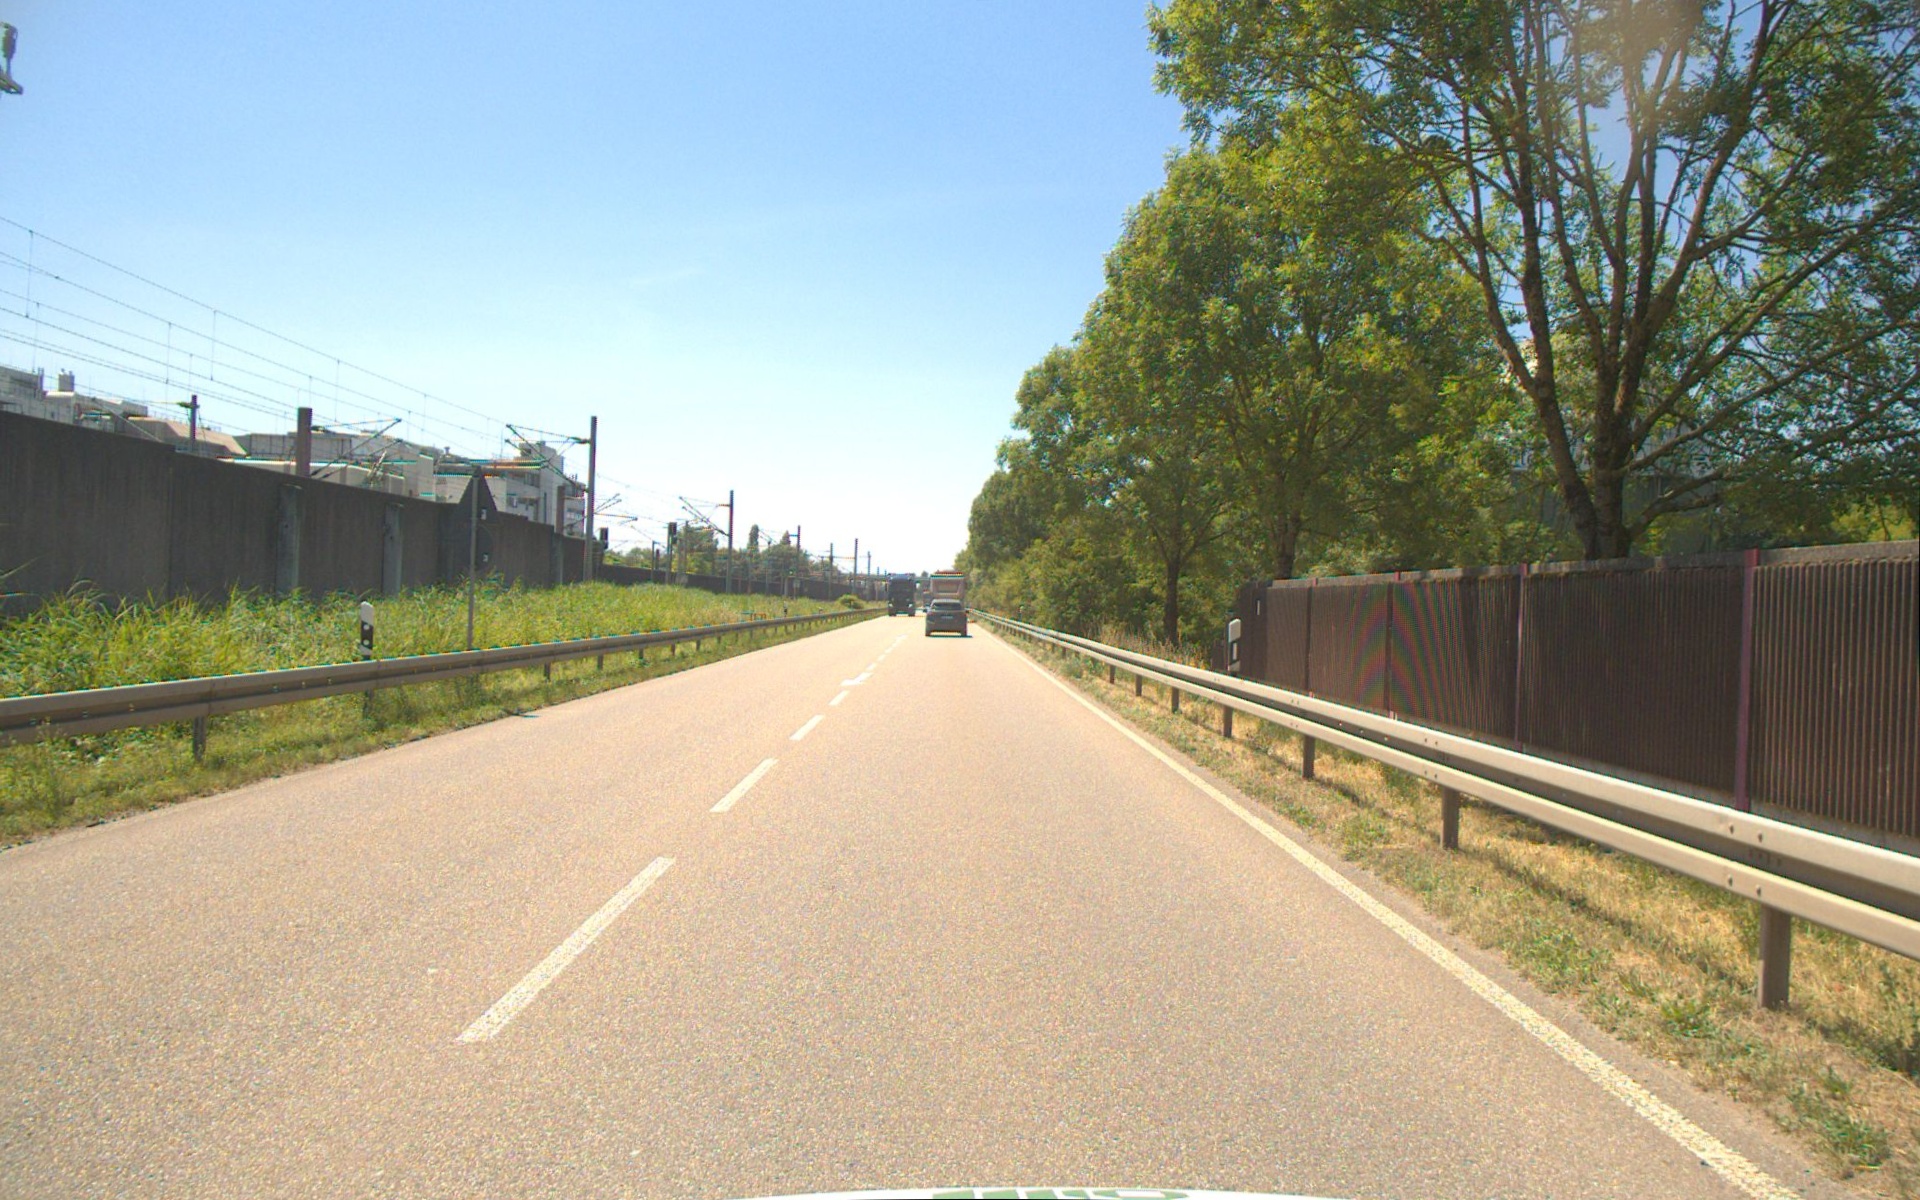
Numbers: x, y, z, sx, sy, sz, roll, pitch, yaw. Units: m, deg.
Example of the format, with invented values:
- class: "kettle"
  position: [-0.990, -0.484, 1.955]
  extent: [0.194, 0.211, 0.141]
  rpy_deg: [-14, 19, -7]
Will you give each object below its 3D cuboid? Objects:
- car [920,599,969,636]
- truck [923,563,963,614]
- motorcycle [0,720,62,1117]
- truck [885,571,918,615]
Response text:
- class: "car"
  position: [-0.711, 0.729, 71.188]
  extent: [1.954, 1.534, 3.998]
  rpy_deg: [1, 0, -3]
- class: "truck"
  position: [-1.235, -0.804, 120.616]
  extent: [2.714, 3.485, 10.817]
  rpy_deg: [1, 0, -1]
- class: "motorcycle"
  position: [-3.268, 0.899, 3.364]
  extent: [1.212, 1.091, 3.128]
  rpy_deg: [1, 0, -1]
- class: "truck"
  position: [-5.552, -0.707, 158.445]
  extent: [2.740, 4.047, 10.498]
  rpy_deg: [2, 0, -1]
